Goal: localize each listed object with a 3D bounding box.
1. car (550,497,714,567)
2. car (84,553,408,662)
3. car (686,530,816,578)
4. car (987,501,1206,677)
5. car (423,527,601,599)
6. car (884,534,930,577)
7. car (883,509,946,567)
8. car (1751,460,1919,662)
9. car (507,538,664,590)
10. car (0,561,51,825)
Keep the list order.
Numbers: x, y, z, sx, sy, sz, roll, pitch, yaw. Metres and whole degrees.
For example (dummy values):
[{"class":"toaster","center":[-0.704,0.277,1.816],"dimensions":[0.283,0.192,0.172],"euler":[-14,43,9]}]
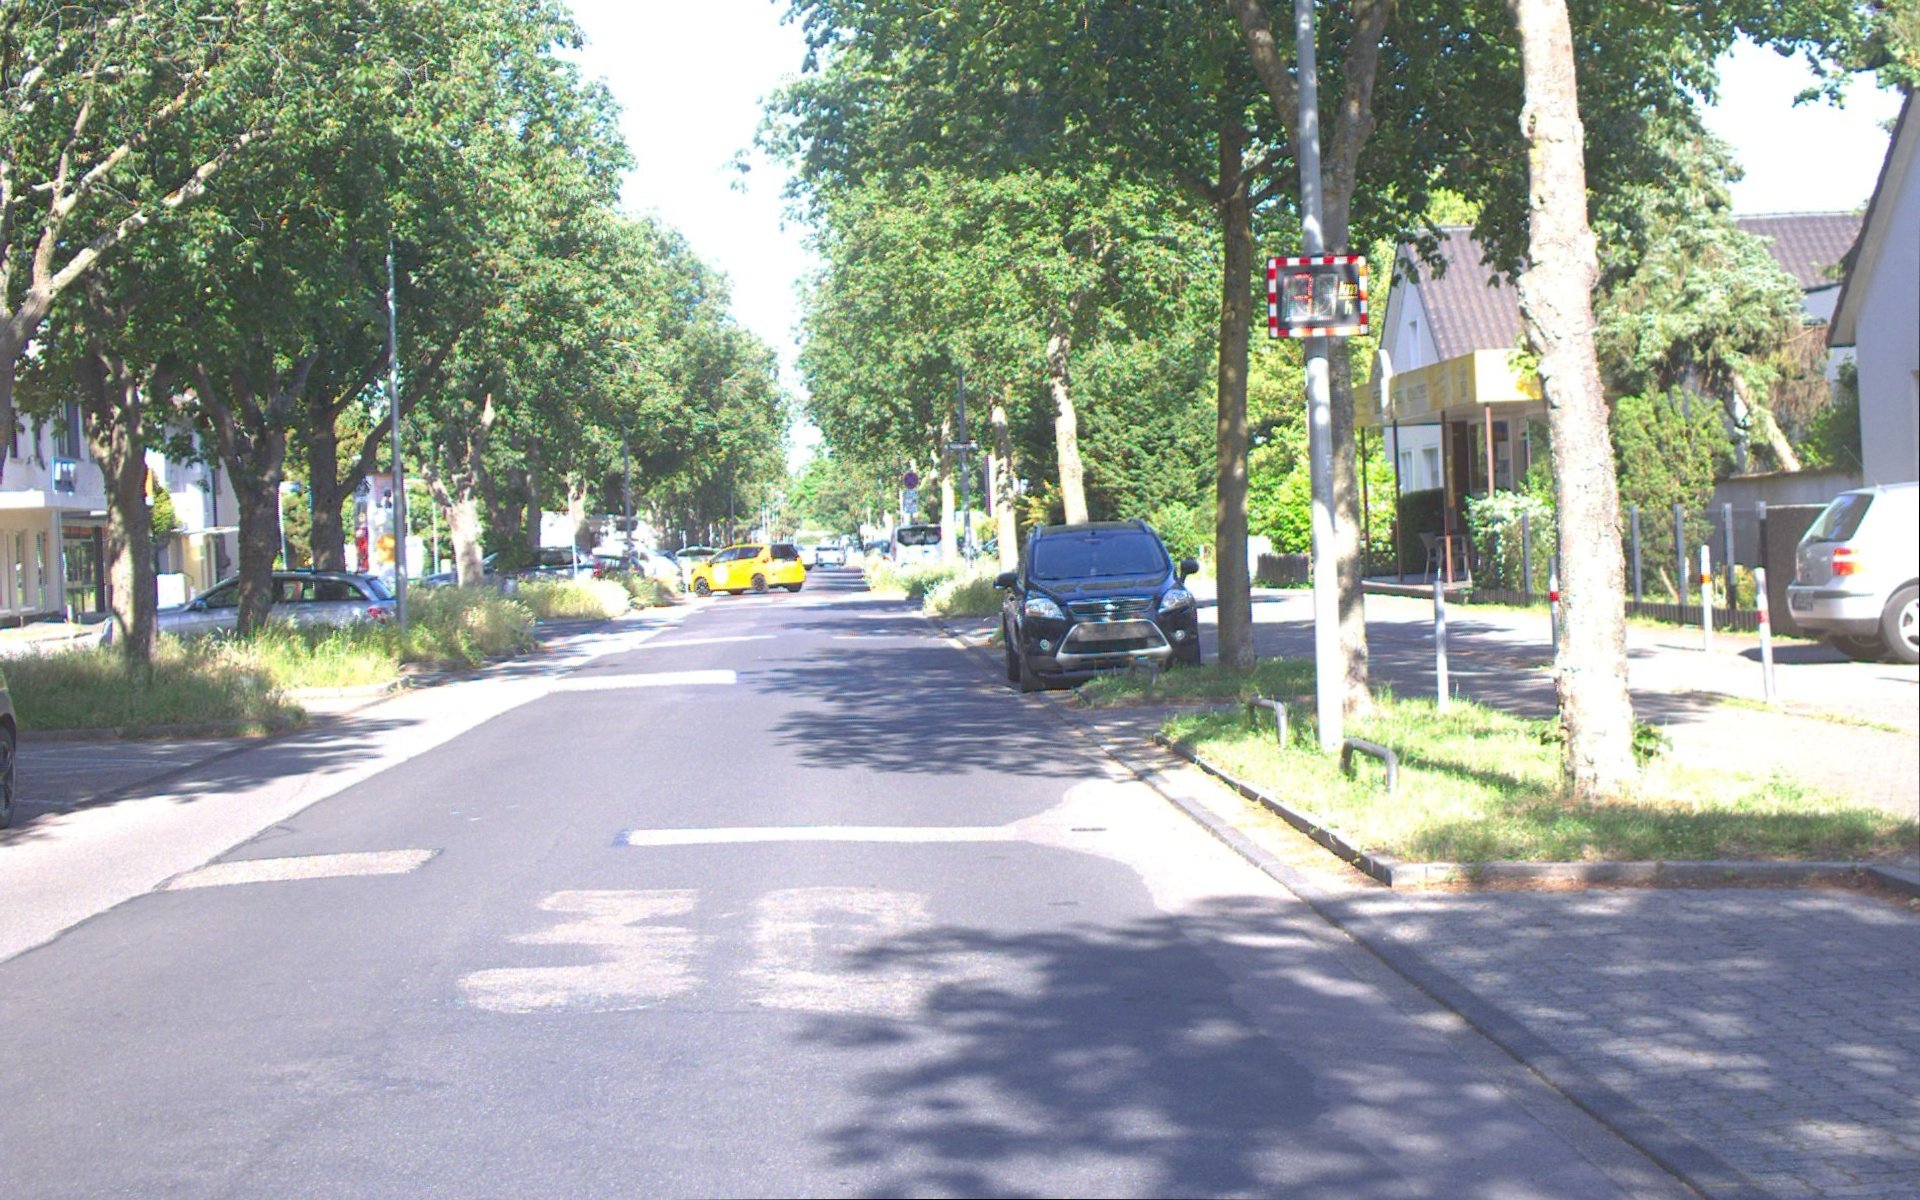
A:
[{"class":"car","center":[-11.190,-2.342,117.700],"dimensions":[5.497,2.240,2.517],"euler":[-1,3,-3]},{"class":"car","center":[-10.814,0.092,52.283],"dimensions":[4.554,1.506,1.841],"euler":[-1,3,-2]},{"class":"car","center":[-6.539,-1.431,107.449],"dimensions":[3.885,1.474,1.889],"euler":[1,1,43]},{"class":"car","center":[1.367,-0.130,36.214],"dimensions":[1.853,1.620,4.470],"euler":[-4,1,-2]},{"class":"car","center":[-11.670,-0.981,89.729],"dimensions":[4.545,1.759,2.001],"euler":[-1,3,-7]},{"class":"car","center":[-2.272,-1.918,147.316],"dimensions":[1.902,1.768,4.301],"euler":[-1,1,-2]},{"class":"car","center":[-1.447,-1.965,108.850],"dimensions":[1.902,1.768,4.301],"euler":[-1,1,-2]},{"class":"car","center":[8.724,-0.434,28.014],"dimensions":[3.986,1.483,1.902],"euler":[-4,3,-3]},{"class":"car","center":[-10.472,-1.022,96.100],"dimensions":[4.286,1.310,1.909],"euler":[-1,3,-7]},{"class":"car","center":[-6.777,0.580,19.885],"dimensions":[1.939,1.603,4.384],"euler":[-1,0,-1]}]
